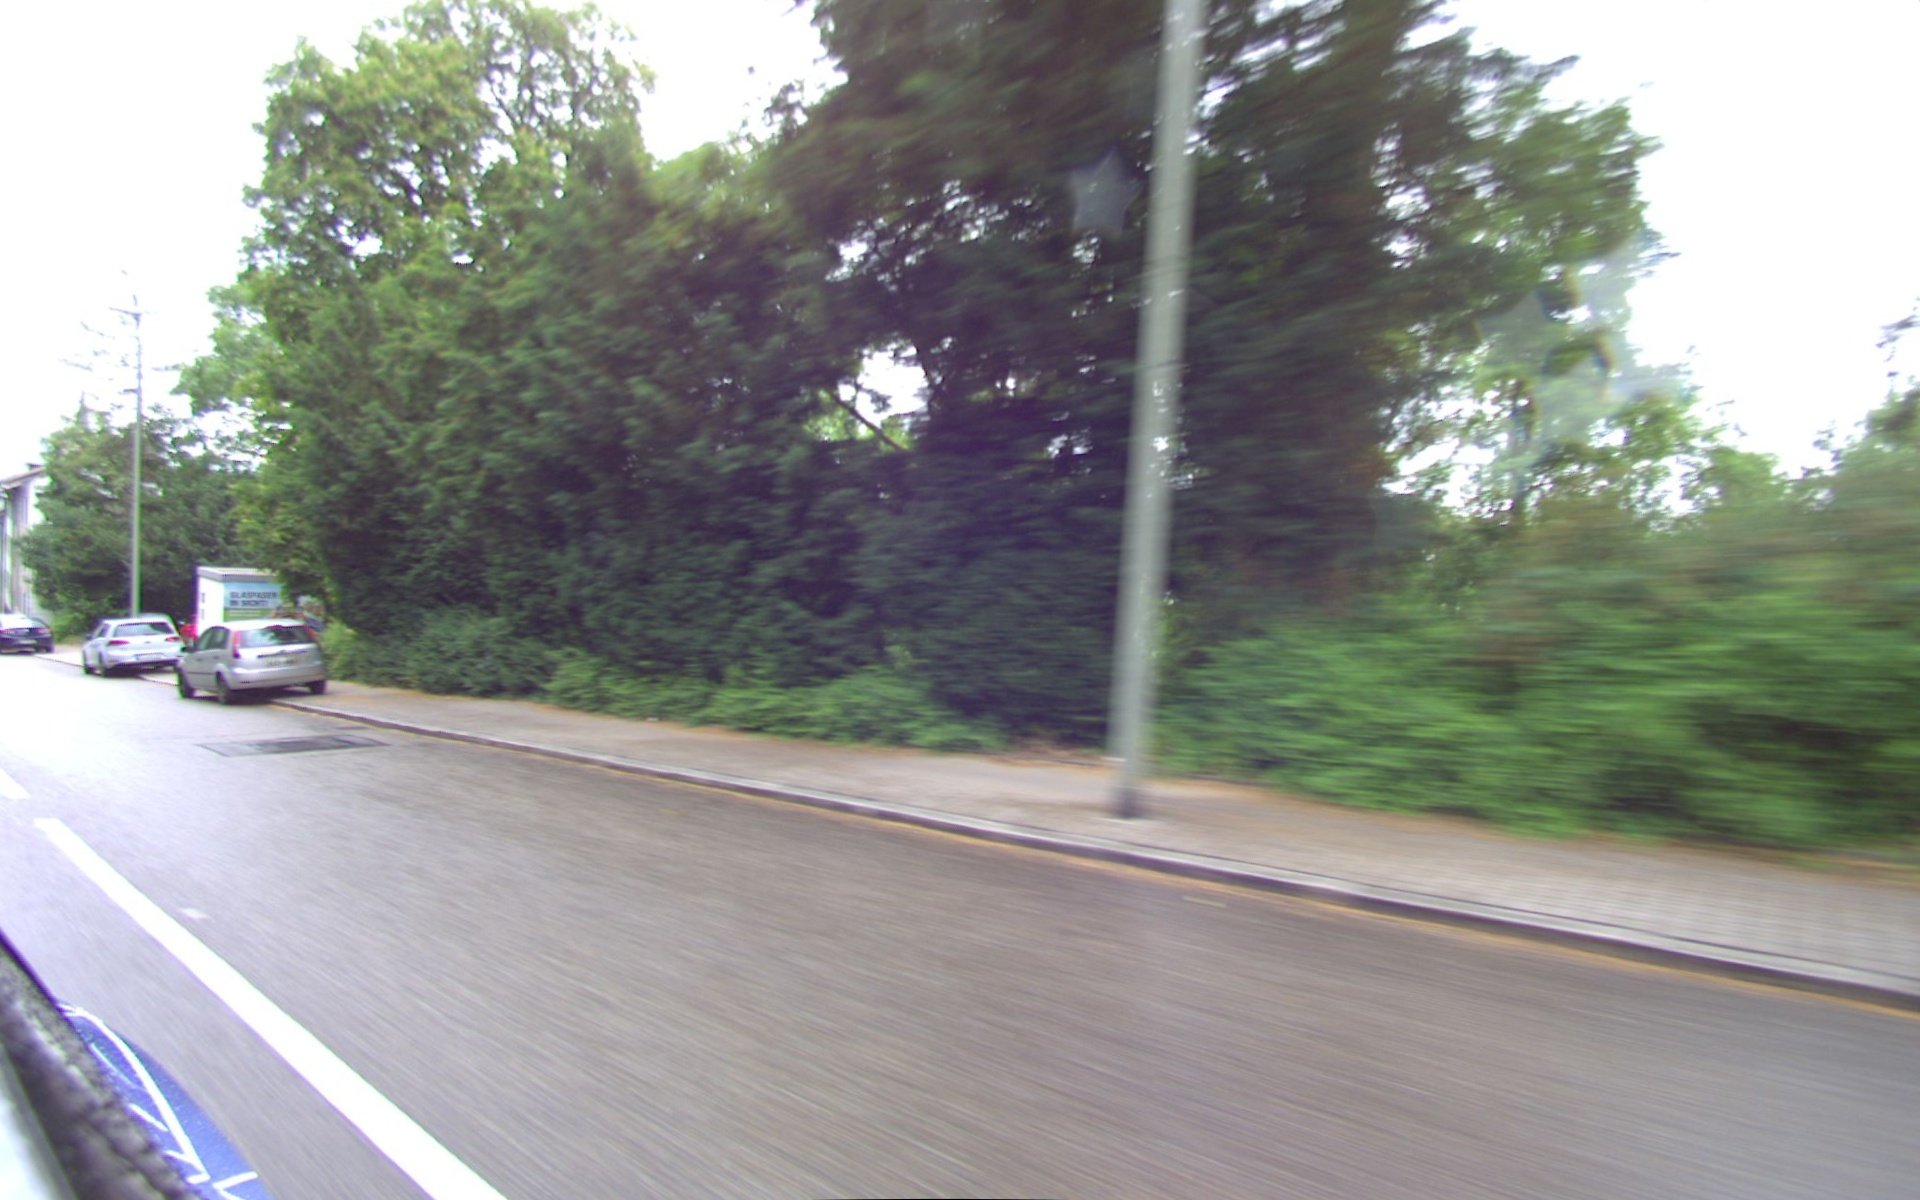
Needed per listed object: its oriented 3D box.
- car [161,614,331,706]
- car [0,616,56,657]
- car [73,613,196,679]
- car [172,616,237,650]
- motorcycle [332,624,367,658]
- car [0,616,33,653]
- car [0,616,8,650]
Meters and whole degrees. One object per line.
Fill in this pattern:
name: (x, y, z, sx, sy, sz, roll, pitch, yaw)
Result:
car: (-13.669, 1.072, 19.307, 3.924, 1.510, 1.610, -1, 1, 39)
car: (-38.003, 1.443, 40.678, 4.753, 1.505, 1.840, -1, -5, 41)
car: (-22.277, 1.216, 27.262, 4.238, 1.624, 1.866, -1, -3, 42)
car: (-33.609, 1.445, 45.018, 3.773, 1.470, 1.604, -1, -1, 42)
motorcycle: (-22.810, 1.512, 37.801, 2.279, 1.198, 0.593, -1, -2, 45)
car: (-42.906, 1.532, 45.455, 4.150, 1.581, 1.637, -1, -2, 45)
car: (-47.459, 1.544, 49.068, 4.187, 1.616, 1.626, -1, -4, 44)
